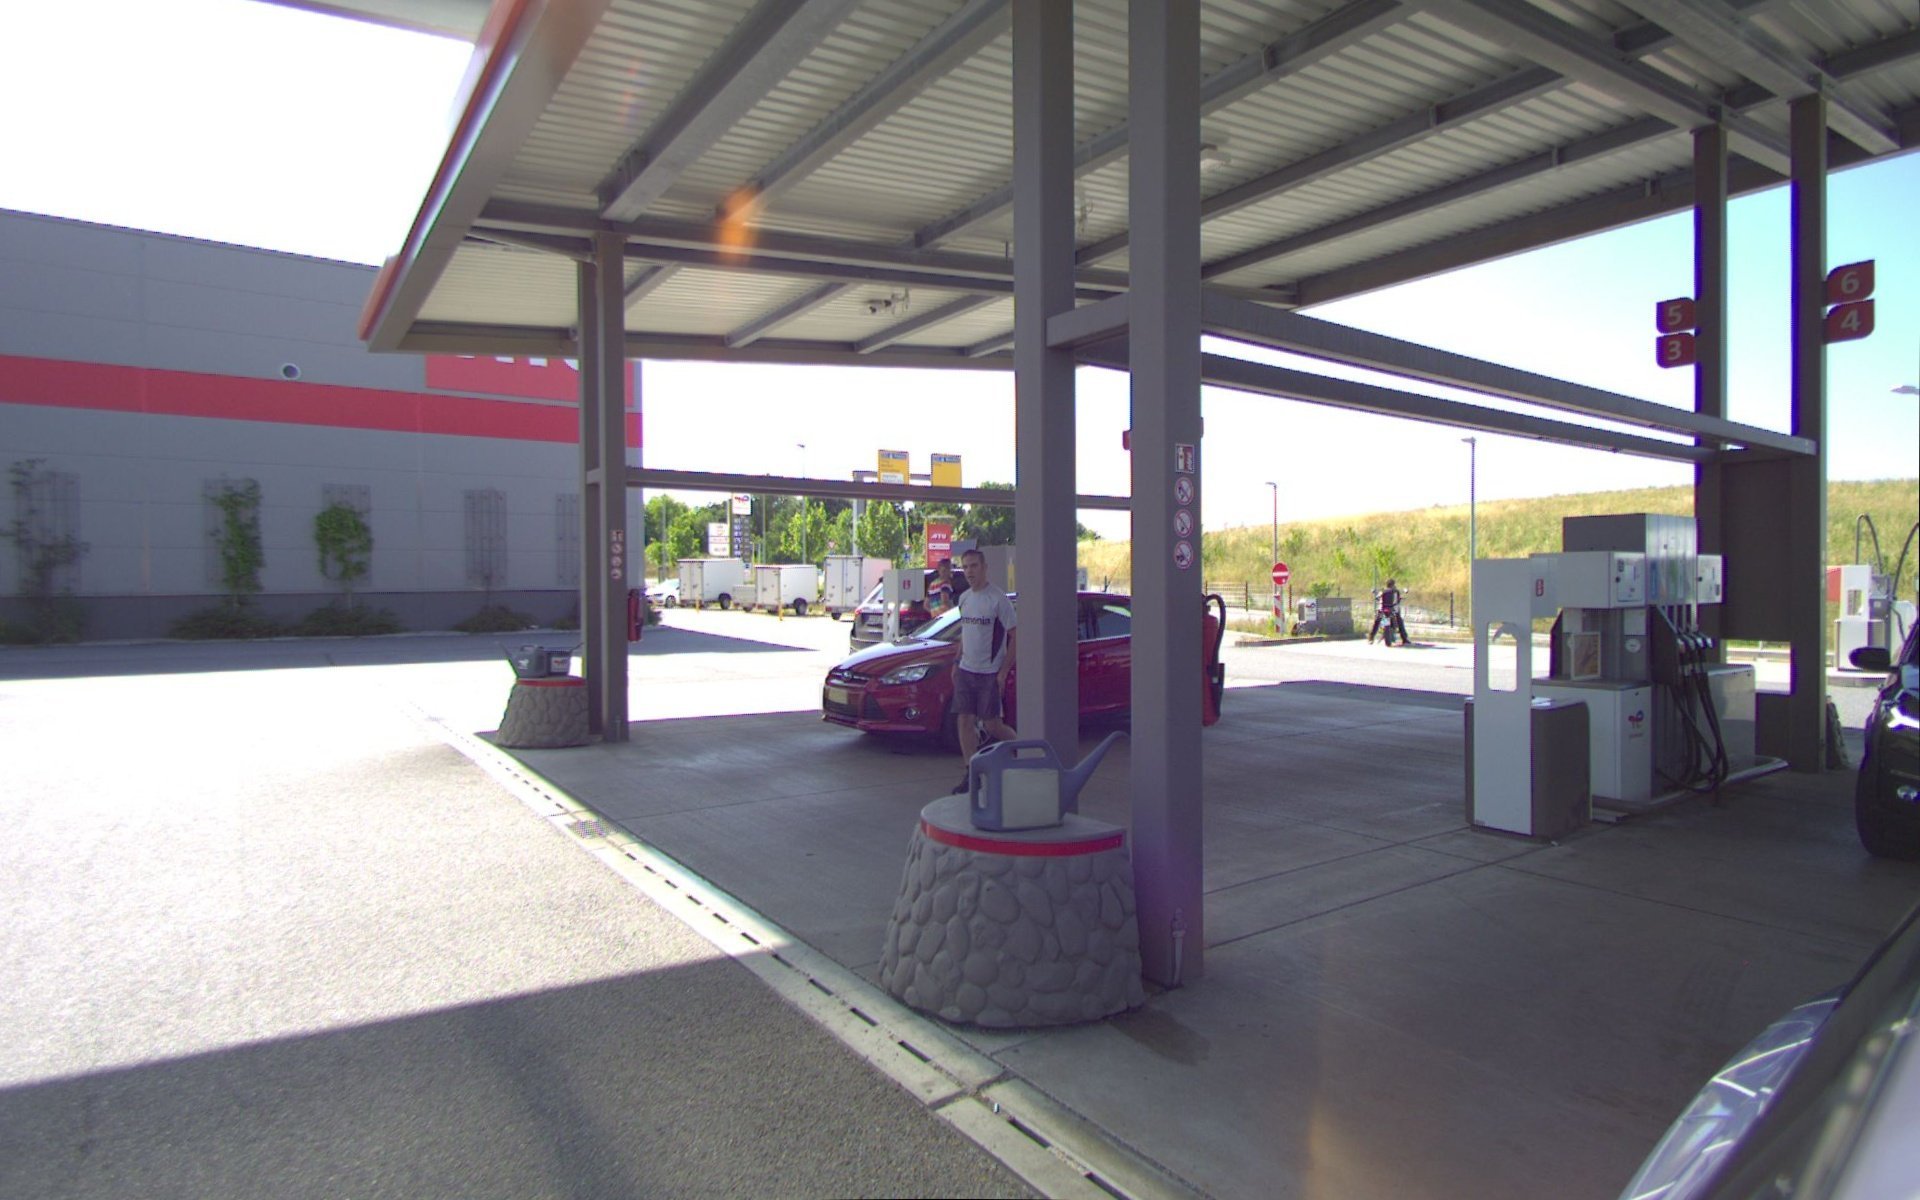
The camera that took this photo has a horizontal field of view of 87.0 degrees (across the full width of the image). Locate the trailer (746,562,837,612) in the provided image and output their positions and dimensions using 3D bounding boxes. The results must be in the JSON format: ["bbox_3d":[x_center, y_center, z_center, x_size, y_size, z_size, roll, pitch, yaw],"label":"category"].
[{"bbox_3d":[-7.213,-0.576,43.607,1.787,2.039,3.959,1,1,29],"label":"trailer"}]

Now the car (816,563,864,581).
[{"bbox_3d":[-10.437,-2.429,88.162,3.916,1.562,1.736,0,1,-15],"label":"car"}]

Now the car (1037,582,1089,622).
[{"bbox_3d":[4.121,0.039,40.984,1.776,1.521,3.999,0,1,2],"label":"car"}]

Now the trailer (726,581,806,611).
[{"bbox_3d":[-8.672,-0.213,45.460,1.565,1.297,3.681,1,1,29],"label":"trailer"}]

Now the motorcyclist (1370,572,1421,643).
[{"bbox_3d":[10.766,0.154,25.004,1.026,1.709,1.087,1,1,30],"label":"motorcyclist"}]

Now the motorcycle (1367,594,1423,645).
[{"bbox_3d":[10.791,0.444,25.053,1.037,1.119,2.391,1,2,29],"label":"motorcycle"}]

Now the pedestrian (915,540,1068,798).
[{"bbox_3d":[0.236,0.453,7.358,0.700,1.724,0.915,1,1,40],"label":"pedestrian"}]

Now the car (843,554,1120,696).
[{"bbox_3d":[0.520,0.310,15.946,2.022,1.874,4.735,1,1,36],"label":"car"}]

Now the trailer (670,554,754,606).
[{"bbox_3d":[-12.191,-0.978,49.935,1.981,2.457,3.963,1,1,27],"label":"trailer"}]

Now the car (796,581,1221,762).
[{"bbox_3d":[0.604,0.558,10.211,4.153,1.487,1.704,0,1,-36],"label":"car"}]

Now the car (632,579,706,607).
[{"bbox_3d":[-14.535,-0.387,50.693,1.661,1.334,3.810,1,1,21],"label":"car"}]

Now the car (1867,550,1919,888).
[{"bbox_3d":[6.839,0.576,6.049,4.554,1.665,1.740,-1,1,-43],"label":"car"}]

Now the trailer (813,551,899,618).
[{"bbox_3d":[-3.966,-0.610,39.175,1.972,2.457,3.980,1,1,16],"label":"trailer"}]
